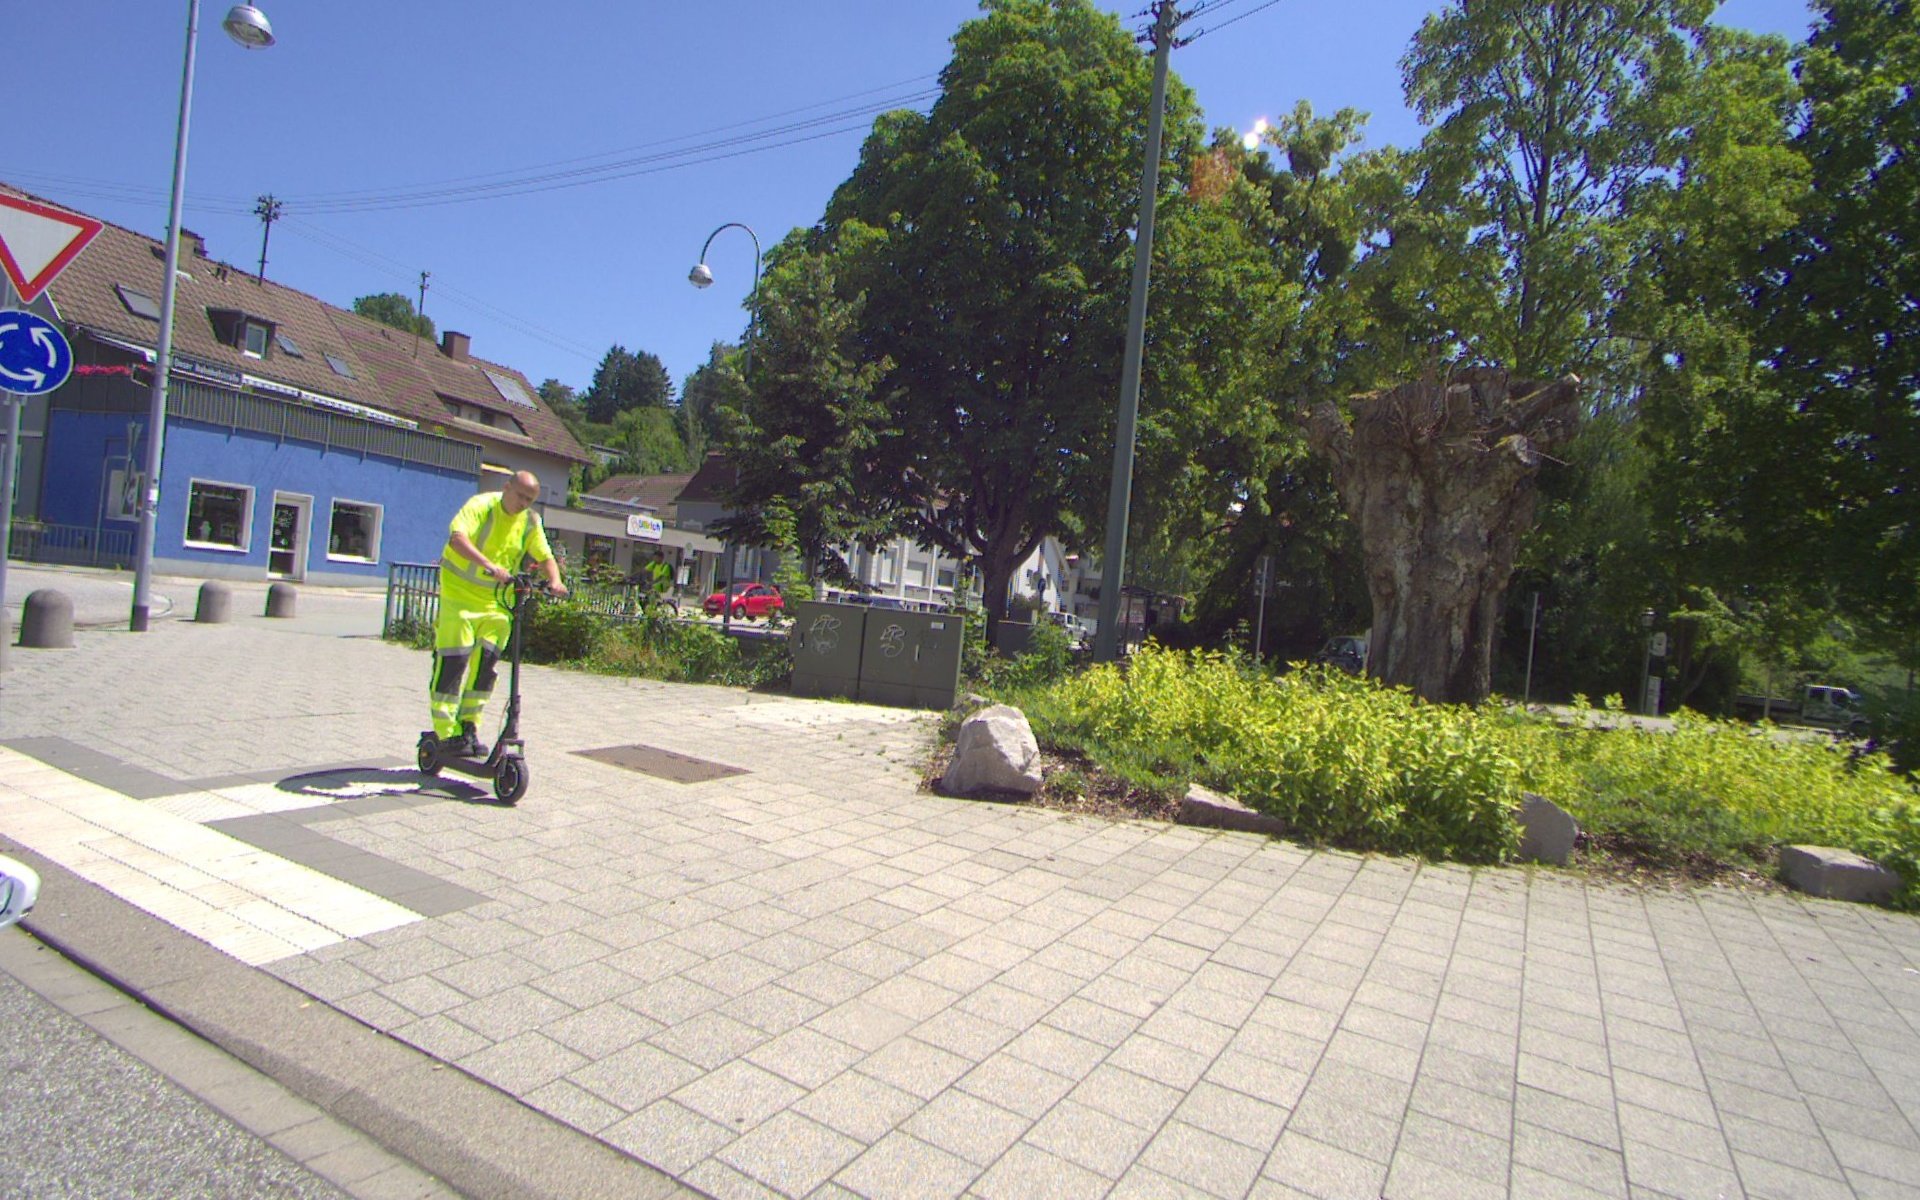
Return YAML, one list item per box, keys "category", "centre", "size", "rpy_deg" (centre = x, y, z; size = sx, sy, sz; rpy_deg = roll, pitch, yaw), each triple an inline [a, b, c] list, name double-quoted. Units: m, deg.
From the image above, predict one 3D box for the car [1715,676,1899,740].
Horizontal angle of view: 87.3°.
- category: "car"
  centre: [42.916, 5.443, 51.261]
  size: [2.168, 2.267, 6.716]
  rpy_deg: [5, 0, -28]

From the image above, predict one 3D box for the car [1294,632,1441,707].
- category: "car"
  centre: [10.237, 1.698, 25.568]
  size: [1.644, 1.472, 3.756]
  rpy_deg: [6, 0, -9]

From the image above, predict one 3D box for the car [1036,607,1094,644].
- category: "car"
  centre: [6.291, 1.533, 59.846]
  size: [1.733, 1.899, 4.223]
  rpy_deg: [6, 0, 29]

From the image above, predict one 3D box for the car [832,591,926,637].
- category: "car"
  centre: [-3.333, 0.627, 42.184]
  size: [1.780, 1.566, 4.255]
  rpy_deg: [7, 0, 29]

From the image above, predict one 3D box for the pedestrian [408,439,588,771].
- category: "pedestrian"
  centre: [-2.761, 0.026, 5.993]
  size: [0.675, 1.824, 0.730]
  rpy_deg: [3, 3, -42]

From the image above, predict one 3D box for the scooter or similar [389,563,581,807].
- category: "scooter or similar"
  centre: [-2.809, 0.451, 5.902]
  size: [1.224, 1.238, 0.527]
  rpy_deg: [6, 1, 43]

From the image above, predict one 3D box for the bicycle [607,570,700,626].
- category: "bicycle"
  centre: [-6.878, -0.033, 22.657]
  size: [0.736, 1.097, 1.841]
  rpy_deg: [6, 0, 39]

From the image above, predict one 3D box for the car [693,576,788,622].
- category: "car"
  centre: [-9.005, -0.021, 41.535]
  size: [1.747, 1.571, 3.672]
  rpy_deg: [5, -1, 29]

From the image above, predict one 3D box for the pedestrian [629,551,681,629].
- category: "pedestrian"
  centre: [-6.864, -0.222, 22.644]
  size: [0.736, 1.652, 0.715]
  rpy_deg: [6, 1, 40]
